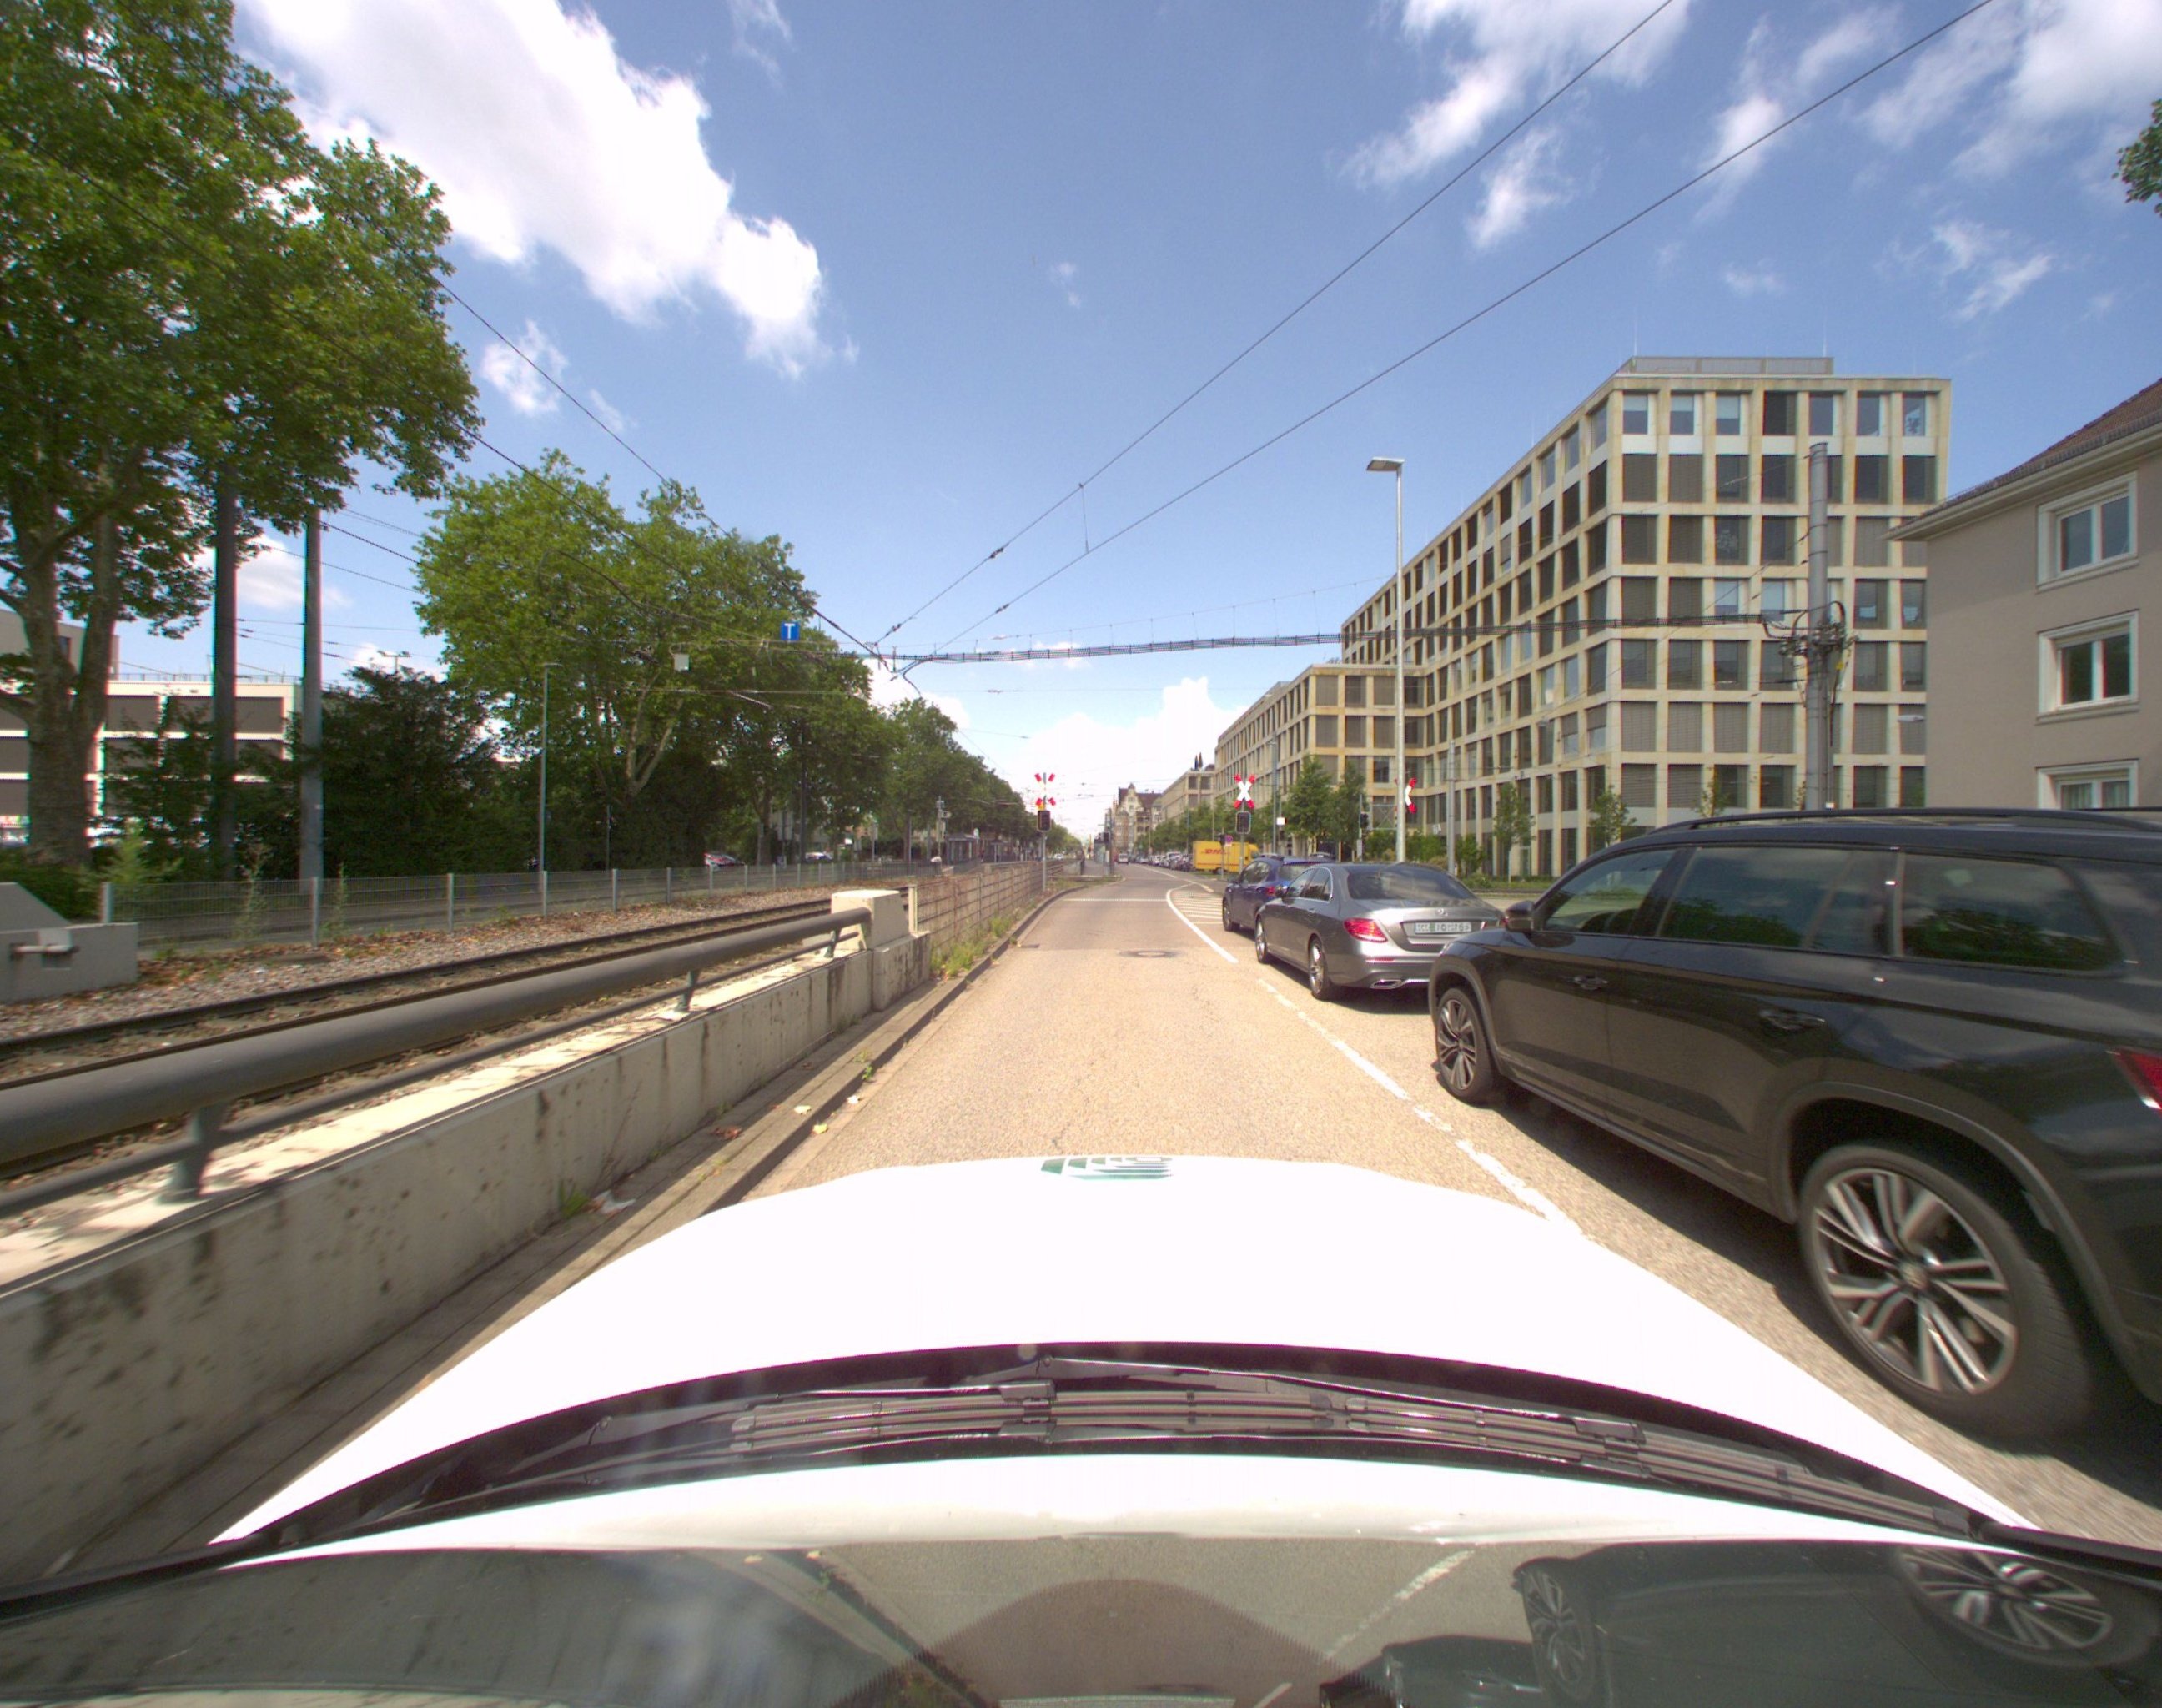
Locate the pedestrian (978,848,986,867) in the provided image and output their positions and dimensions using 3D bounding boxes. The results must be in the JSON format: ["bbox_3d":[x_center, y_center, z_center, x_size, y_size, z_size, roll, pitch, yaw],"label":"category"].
[{"bbox_3d":[-9.736,0.367,80.084,0.704,1.845,0.864,-1,-1,0],"label":"pedestrian"}]

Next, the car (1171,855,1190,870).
[{"bbox_3d":[10.961,0.955,89.929,1.715,1.620,3.860,1,0,1],"label":"car"}]

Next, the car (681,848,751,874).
[{"bbox_3d":[-25.303,0.504,56.580,3.977,1.750,1.802,0,0,-3],"label":"car"}]

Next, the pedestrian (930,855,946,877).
[{"bbox_3d":[-9.104,0.758,51.901,0.859,1.343,0.922,-1,-1,-3],"label":"pedestrian"}]

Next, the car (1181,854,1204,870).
[{"bbox_3d":[10.850,0.805,79.438,1.685,1.505,4.068,1,0,1],"label":"car"}]

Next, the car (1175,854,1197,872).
[{"bbox_3d":[10.894,0.937,84.944,1.763,1.767,4.840,1,0,1],"label":"car"}]

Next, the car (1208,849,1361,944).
[{"bbox_3d":[3.687,0.696,15.590,1.774,1.540,4.419,-1,0,-1],"label":"car"}]

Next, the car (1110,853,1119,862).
[{"bbox_3d":[7.850,0.778,190.573,1.986,2.014,4.001,-1,-1,1],"label":"car"}]

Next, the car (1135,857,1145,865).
[{"bbox_3d":[12.091,1.430,166.373,1.587,1.434,4.105,3,0,-1],"label":"car"}]

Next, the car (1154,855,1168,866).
[{"bbox_3d":[11.966,1.013,122.412,1.679,1.606,4.152,-1,0,1],"label":"car"}]

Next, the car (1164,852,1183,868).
[{"bbox_3d":[11.422,0.692,101.251,1.875,1.939,4.843,-1,0,1],"label":"car"}]

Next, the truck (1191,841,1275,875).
[{"bbox_3d":[13.011,0.354,70.079,6.787,2.867,2.453,1,-1,-2],"label":"truck"}]

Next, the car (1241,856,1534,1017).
[{"bbox_3d":[3.342,0.771,10.085,1.810,1.454,4.991,-1,0,1],"label":"car"}]

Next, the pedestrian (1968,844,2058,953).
[{"bbox_3d":[14.137,0.658,12.370,0.621,1.608,0.624,-1,-1,-2],"label":"pedestrian"}]

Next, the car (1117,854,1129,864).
[{"bbox_3d":[7.240,0.895,141.563,1.863,1.746,3.999,2,0,0],"label":"car"}]

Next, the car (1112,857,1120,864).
[{"bbox_3d":[8.164,1.503,190.492,1.439,1.470,4.090,-1,0,-1],"label":"car"}]

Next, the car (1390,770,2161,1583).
[{"bbox_3d":[3.135,0.645,3.606,1.810,1.662,4.671,-1,0,1],"label":"car"}]

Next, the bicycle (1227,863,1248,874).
[{"bbox_3d":[14.844,1.342,77.105,1.836,0.957,0.519,2,-1,-1],"label":"bicycle"}]

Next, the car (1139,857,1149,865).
[{"bbox_3d":[11.976,1.378,155.062,1.585,1.460,3.614,2,0,2],"label":"car"}]

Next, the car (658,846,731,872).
[{"bbox_3d":[-25.829,0.336,54.452,3.977,1.750,1.802,0,0,-3],"label":"car"}]
